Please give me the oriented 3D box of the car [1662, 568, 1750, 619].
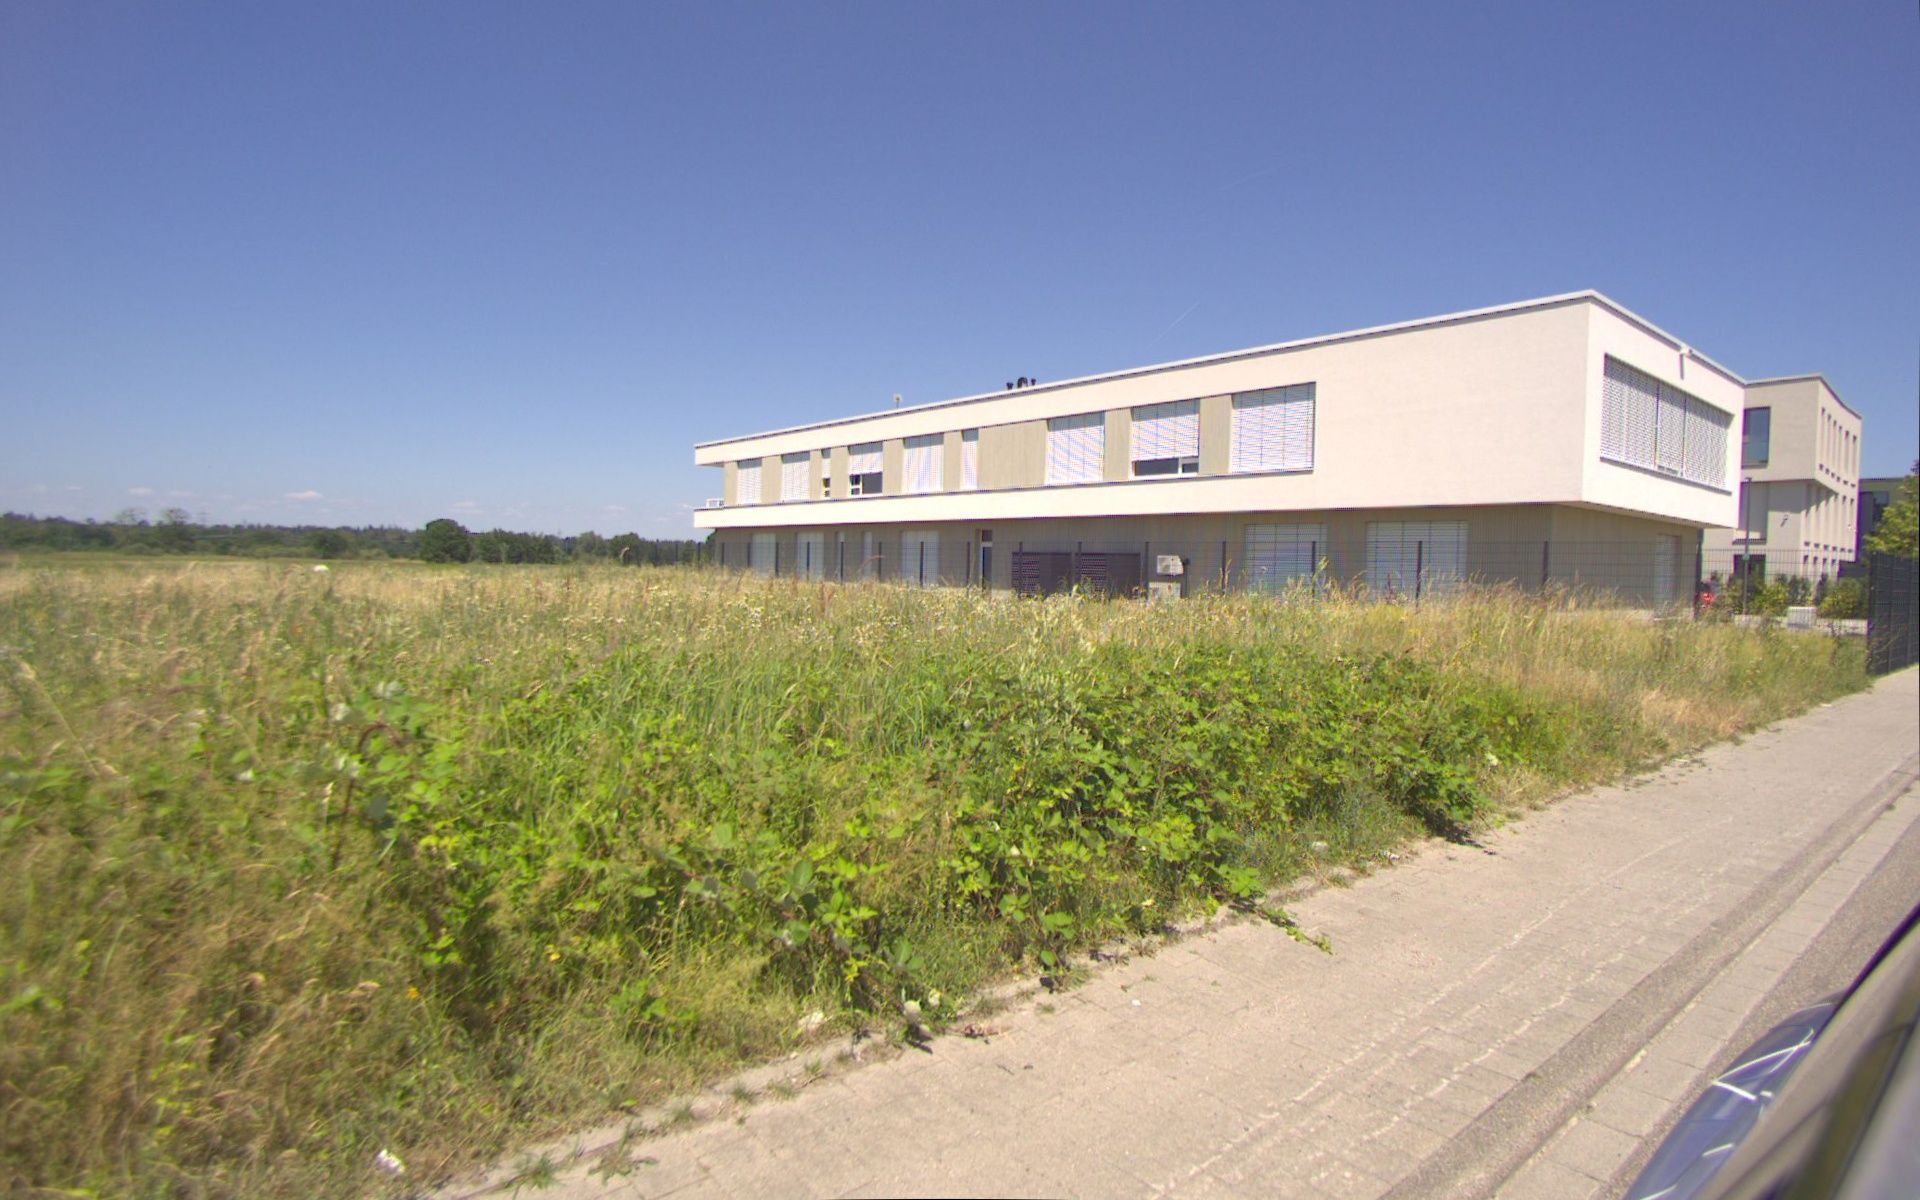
[{"bbox_3d":[25.032,-0.211,33.921,4.010,1.577,1.670,1,1,-44],"label":"car"}]
